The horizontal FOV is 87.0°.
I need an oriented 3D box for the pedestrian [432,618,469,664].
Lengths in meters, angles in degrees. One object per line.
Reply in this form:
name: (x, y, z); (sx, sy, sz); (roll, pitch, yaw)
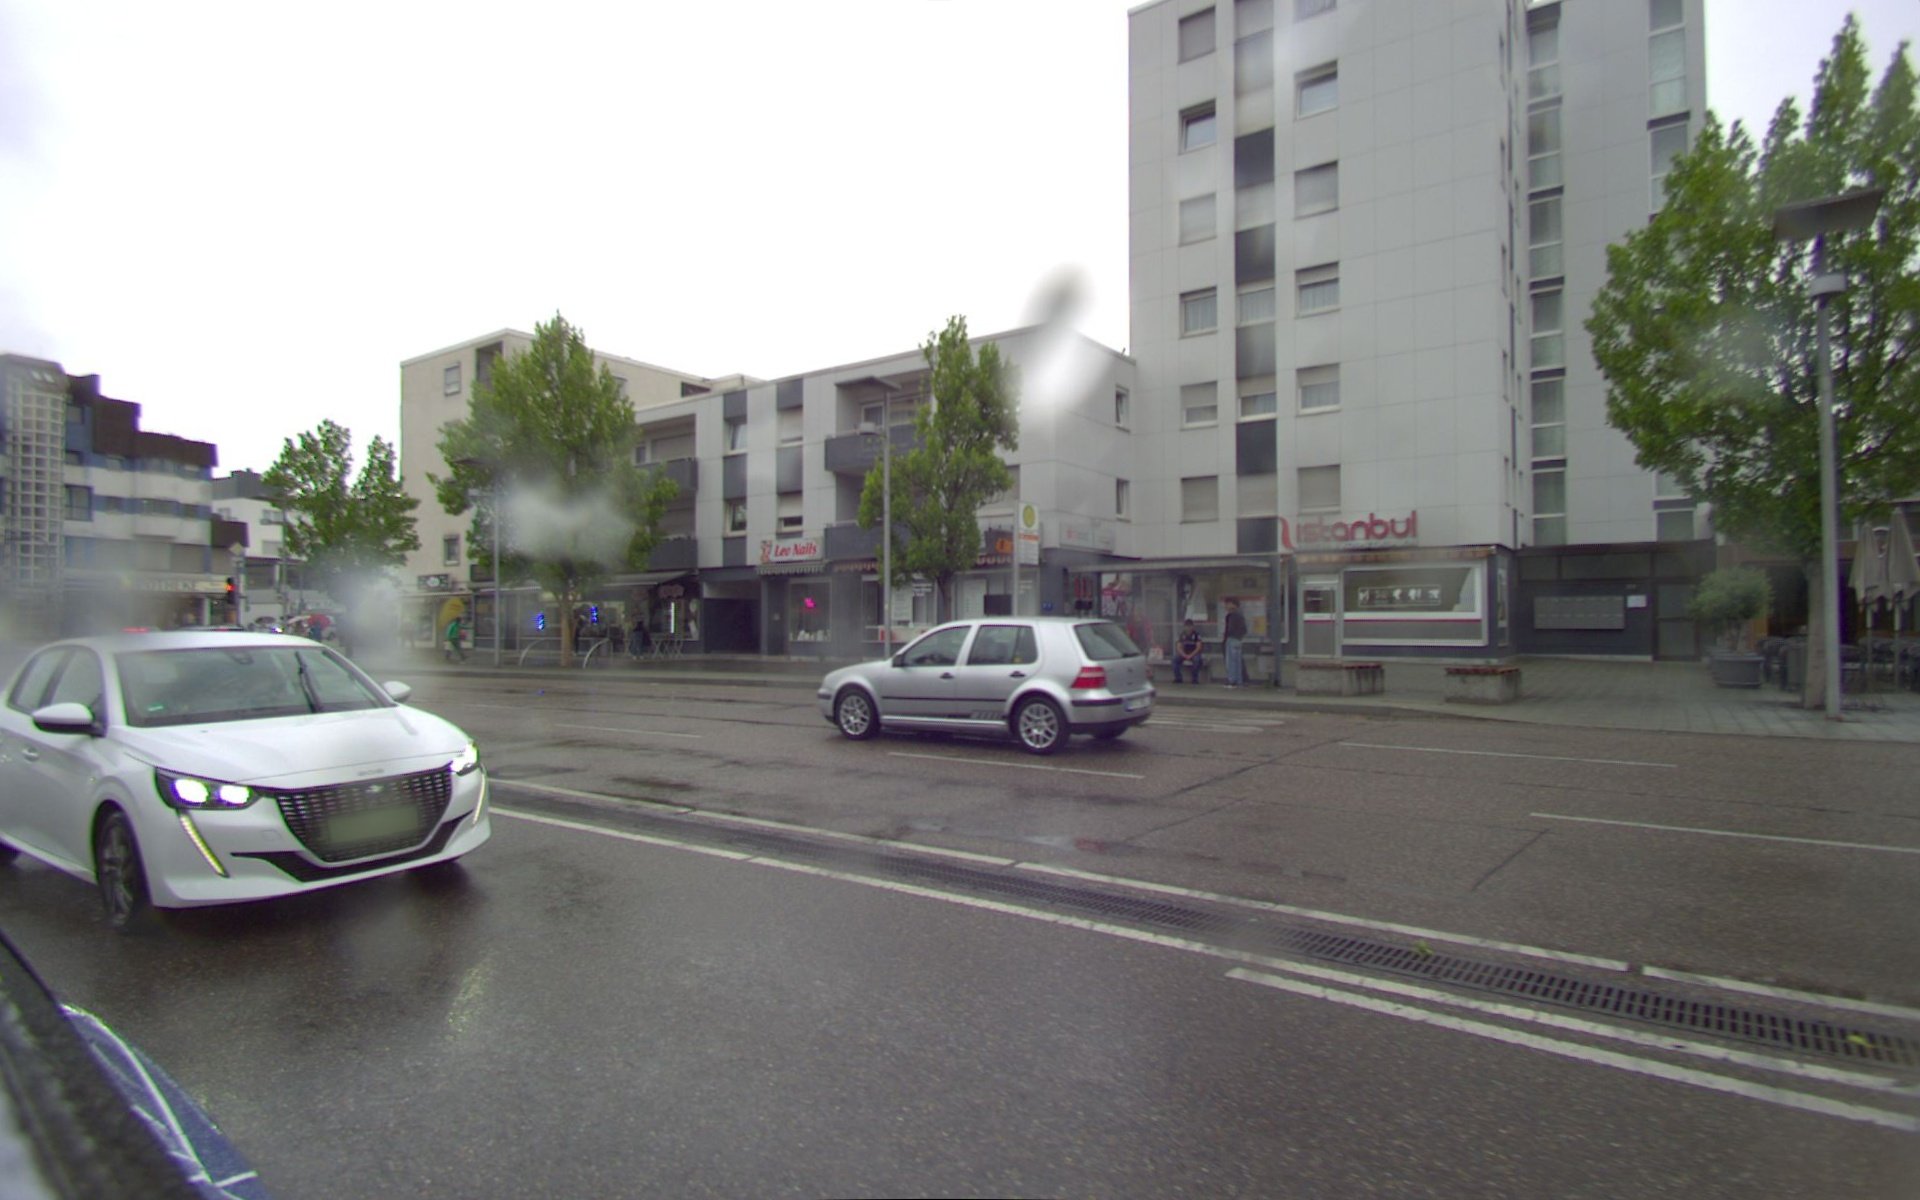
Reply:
pedestrian: (-18.916, 1.527, 37.582); (0.725, 1.658, 0.999); (-2, -1, 34)

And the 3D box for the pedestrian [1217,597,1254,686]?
pedestrian: (5.289, 0.794, 19.431); (0.535, 1.672, 0.473); (-2, -2, 36)

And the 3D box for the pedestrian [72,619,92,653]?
pedestrian: (-46.232, 1.867, 53.311); (0.672, 1.756, 0.587); (-1, -1, -29)

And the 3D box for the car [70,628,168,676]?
car: (-27.497, 1.657, 33.035); (4.886, 1.438, 1.739); (-2, -1, 42)

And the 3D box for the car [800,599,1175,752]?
car: (0.231, 0.802, 11.685); (4.093, 1.477, 1.685); (-2, -3, 35)

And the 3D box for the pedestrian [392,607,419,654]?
pedestrian: (-24.665, 1.356, 45.035); (0.862, 2.029, 0.752); (-2, -2, 34)

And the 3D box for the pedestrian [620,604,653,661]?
pedestrian: (-11.627, 1.155, 36.390); (0.863, 2.029, 0.751); (-2, -2, 38)

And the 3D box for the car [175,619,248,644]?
car: (-52.747, 2.199, 71.391); (1.732, 1.733, 3.874); (-1, -1, 17)

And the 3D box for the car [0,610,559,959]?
car: (-4.457, 0.838, 6.134); (3.860, 1.473, 1.858); (-2, -1, 32)

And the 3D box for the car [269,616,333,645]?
car: (-49.194, 2.272, 75.663); (1.971, 2.029, 4.600); (-1, -1, -2)

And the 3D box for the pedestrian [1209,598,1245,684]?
pedestrian: (5.305, 0.799, 20.094); (0.479, 1.672, 0.529); (-2, -2, 41)

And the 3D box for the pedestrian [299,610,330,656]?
pedestrian: (-29.107, 1.488, 45.630); (0.975, 2.029, 0.895); (-2, -2, 34)

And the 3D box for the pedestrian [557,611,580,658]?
pedestrian: (-15.077, 1.322, 38.927); (0.679, 1.763, 0.543); (-2, -2, 37)

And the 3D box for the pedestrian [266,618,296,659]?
pedestrian: (-32.569, 1.827, 48.563); (0.975, 1.929, 0.895); (-2, -2, 34)

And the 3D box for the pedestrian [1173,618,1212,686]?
pedestrian: (4.746, 1.048, 20.688); (0.578, 1.363, 0.529); (-2, -2, 41)

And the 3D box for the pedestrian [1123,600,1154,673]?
pedestrian: (3.792, 0.765, 21.477); (0.609, 1.516, 0.534); (-1, -1, 12)

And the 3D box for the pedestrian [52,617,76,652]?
pedestrian: (-45.890, 1.780, 51.827); (0.584, 1.756, 0.828); (-1, -1, 41)

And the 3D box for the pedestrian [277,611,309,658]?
pedestrian: (-29.434, 1.512, 44.667); (0.975, 2.029, 0.895); (-2, -2, 34)

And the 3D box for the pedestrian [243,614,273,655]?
pedestrian: (-33.096, 1.615, 47.731); (0.975, 1.929, 0.895); (-2, -2, 34)

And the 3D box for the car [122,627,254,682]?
car: (-21.890, 1.531, 28.658); (3.988, 1.438, 1.743); (-3, -2, 33)
